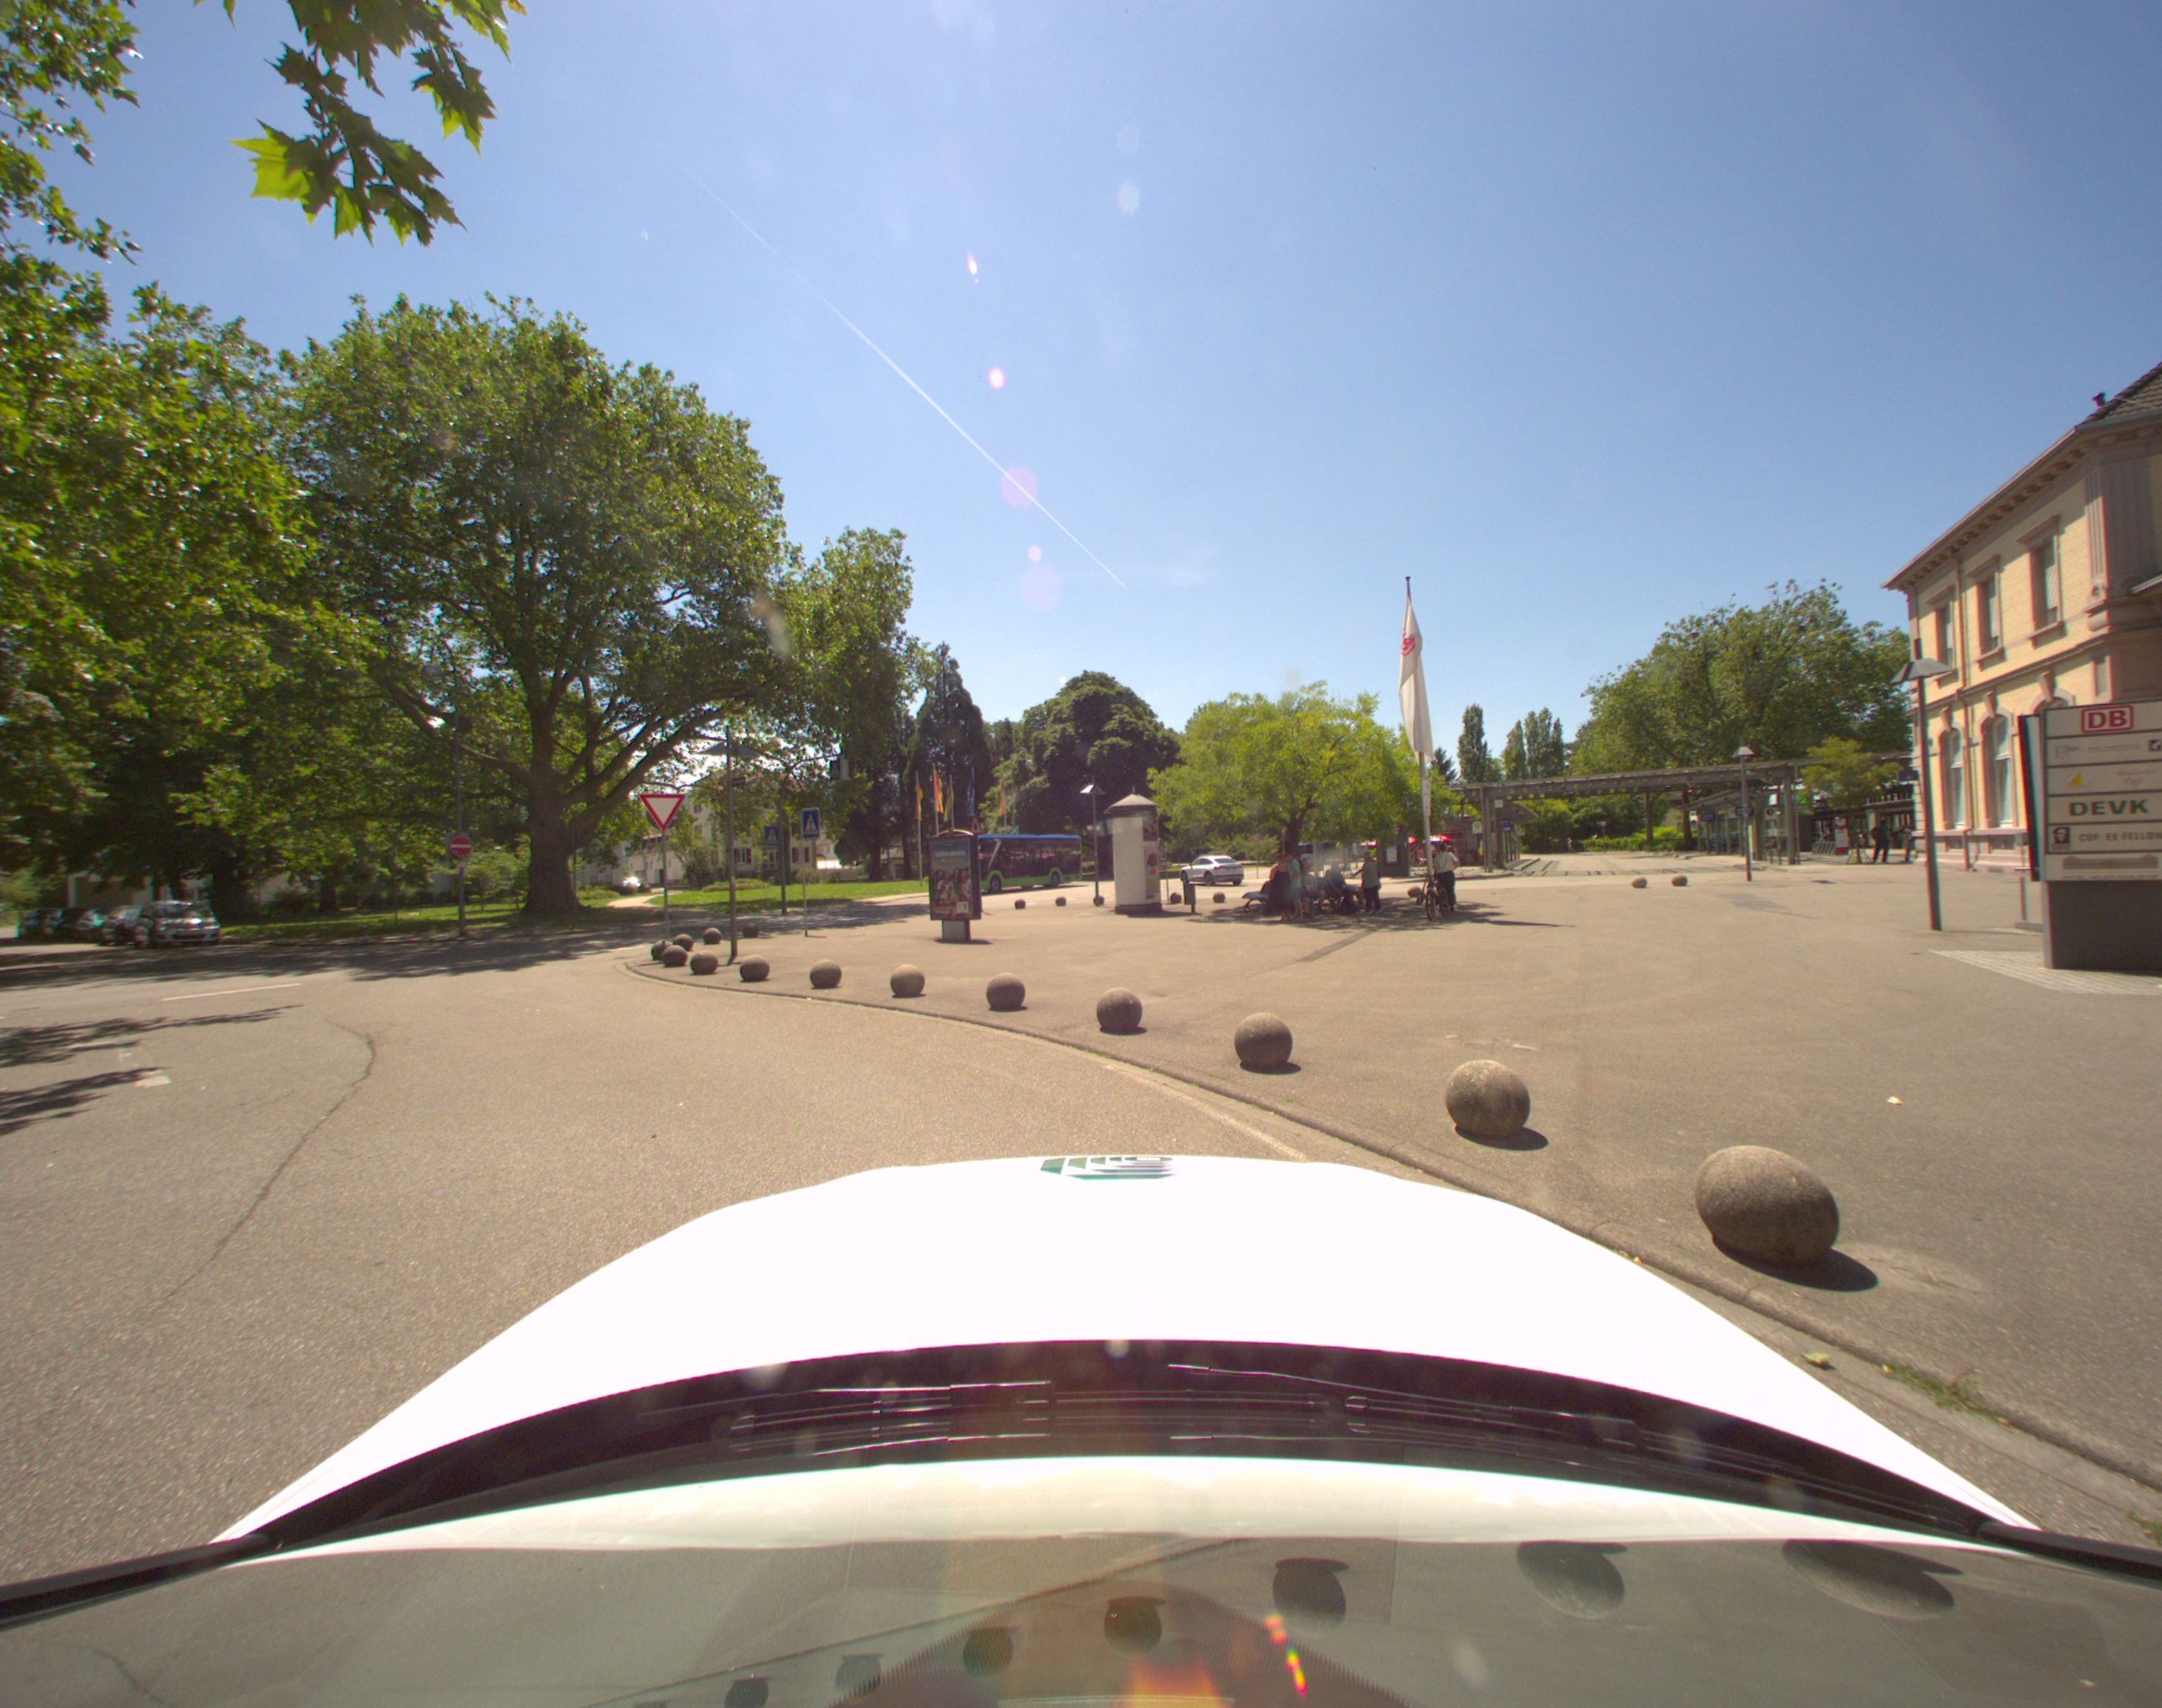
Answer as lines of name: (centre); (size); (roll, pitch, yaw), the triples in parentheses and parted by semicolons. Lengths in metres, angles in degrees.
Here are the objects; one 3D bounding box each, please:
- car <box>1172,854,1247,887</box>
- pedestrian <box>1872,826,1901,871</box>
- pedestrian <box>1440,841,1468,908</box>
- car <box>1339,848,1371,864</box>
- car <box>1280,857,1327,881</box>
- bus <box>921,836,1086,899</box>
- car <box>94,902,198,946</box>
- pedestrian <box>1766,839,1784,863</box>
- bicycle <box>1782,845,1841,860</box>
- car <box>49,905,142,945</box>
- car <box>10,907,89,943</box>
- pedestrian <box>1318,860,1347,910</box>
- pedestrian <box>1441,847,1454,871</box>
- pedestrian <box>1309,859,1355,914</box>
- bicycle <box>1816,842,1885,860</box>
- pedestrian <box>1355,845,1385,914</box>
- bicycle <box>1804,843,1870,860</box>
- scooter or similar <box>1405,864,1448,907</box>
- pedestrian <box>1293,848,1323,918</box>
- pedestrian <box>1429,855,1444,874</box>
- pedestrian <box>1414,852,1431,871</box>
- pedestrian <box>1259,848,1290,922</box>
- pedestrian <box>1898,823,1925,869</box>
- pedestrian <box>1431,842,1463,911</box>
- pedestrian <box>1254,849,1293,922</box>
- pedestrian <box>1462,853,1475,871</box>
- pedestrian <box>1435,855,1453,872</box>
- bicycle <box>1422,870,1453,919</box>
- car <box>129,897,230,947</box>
car: (7.108, 0.932, 45.482); (1.990, 1.627, 4.744); (-2, -1, -21)
pedestrian: (32.867, -0.238, 33.242); (0.634, 1.809, 0.682); (-1, -1, -37)
pedestrian: (9.586, 0.517, 20.932); (0.549, 1.685, 0.590); (-2, -1, 19)
car: (40.626, 0.277, 120.665); (2.205, 2.173, 4.859); (-2, -1, -13)
car: (15.902, 1.041, 58.088); (1.908, 1.460, 4.754); (-6, -3, 31)
bus: (-4.124, 0.673, 48.509); (2.781, 3.283, 12.503); (-2, -1, 31)
car: (-34.375, 2.532, 29.924); (4.445, 1.439, 1.767); (-2, -2, 31)
pedestrian: (42.425, -0.178, 49.775); (0.619, 1.395, 0.681); (-4, -3, 31)
bicycle: (47.639, -0.103, 53.122); (2.760, 1.004, 0.816); (0, -1, 29)
car: (-40.087, 2.845, 33.101); (4.708, 1.439, 1.767); (-3, -1, 31)
car: (-47.520, 3.240, 37.498); (3.867, 1.493, 1.771); (-3, -1, 31)
pedestrian: (7.019, 0.861, 22.726); (0.595, 1.364, 0.600); (-2, -1, 3)
pedestrian: (26.953, 0.351, 59.860); (0.679, 1.738, 0.711); (-2, -1, 31)
pedestrian: (6.641, 0.849, 21.554); (0.906, 1.386, 0.944); (-2, -1, 2)
bicycle: (44.116, -0.156, 46.726); (2.760, 1.004, 0.816); (0, -1, 29)
pedestrian: (7.394, 0.650, 20.873); (0.508, 1.740, 0.571); (-2, -1, 2)
bicycle: (44.564, -0.146, 48.042); (2.760, 1.004, 0.816); (0, -1, 29)
scooter or similar: (9.401, 0.846, 22.165); (1.015, 1.139, 0.296); (-2, -1, 24)
pedestrian: (5.747, 0.732, 20.664); (0.580, 1.740, 0.601); (-2, -1, 6)
pedestrian: (23.256, 0.677, 53.299); (0.679, 1.161, 0.900); (-3, -1, 36)
pedestrian: (24.145, 0.557, 57.622); (0.890, 1.312, 0.688); (-2, -1, -3)
pedestrian: (4.674, 0.742, 19.696); (0.622, 1.740, 0.549); (-2, -1, 6)
pedestrian: (33.199, -0.301, 32.560); (0.599, 1.809, 0.624); (-1, -1, -38)
pedestrian: (9.127, 0.552, 20.339); (0.612, 1.685, 0.594); (-2, -1, 19)
pedestrian: (4.784, 0.774, 20.280); (0.684, 1.764, 0.589); (-3, -1, 41)
pedestrian: (26.504, 0.543, 55.720); (0.751, 1.205, 0.742); (0, -1, 31)
pedestrian: (25.330, 0.634, 56.778); (0.890, 1.161, 0.688); (-2, -1, -3)
bicycle: (8.309, 0.913, 18.950); (0.416, 1.060, 1.961); (-3, -1, 29)
car: (-29.921, 2.218, 27.022); (3.441, 1.497, 1.610); (-2, -2, 31)
